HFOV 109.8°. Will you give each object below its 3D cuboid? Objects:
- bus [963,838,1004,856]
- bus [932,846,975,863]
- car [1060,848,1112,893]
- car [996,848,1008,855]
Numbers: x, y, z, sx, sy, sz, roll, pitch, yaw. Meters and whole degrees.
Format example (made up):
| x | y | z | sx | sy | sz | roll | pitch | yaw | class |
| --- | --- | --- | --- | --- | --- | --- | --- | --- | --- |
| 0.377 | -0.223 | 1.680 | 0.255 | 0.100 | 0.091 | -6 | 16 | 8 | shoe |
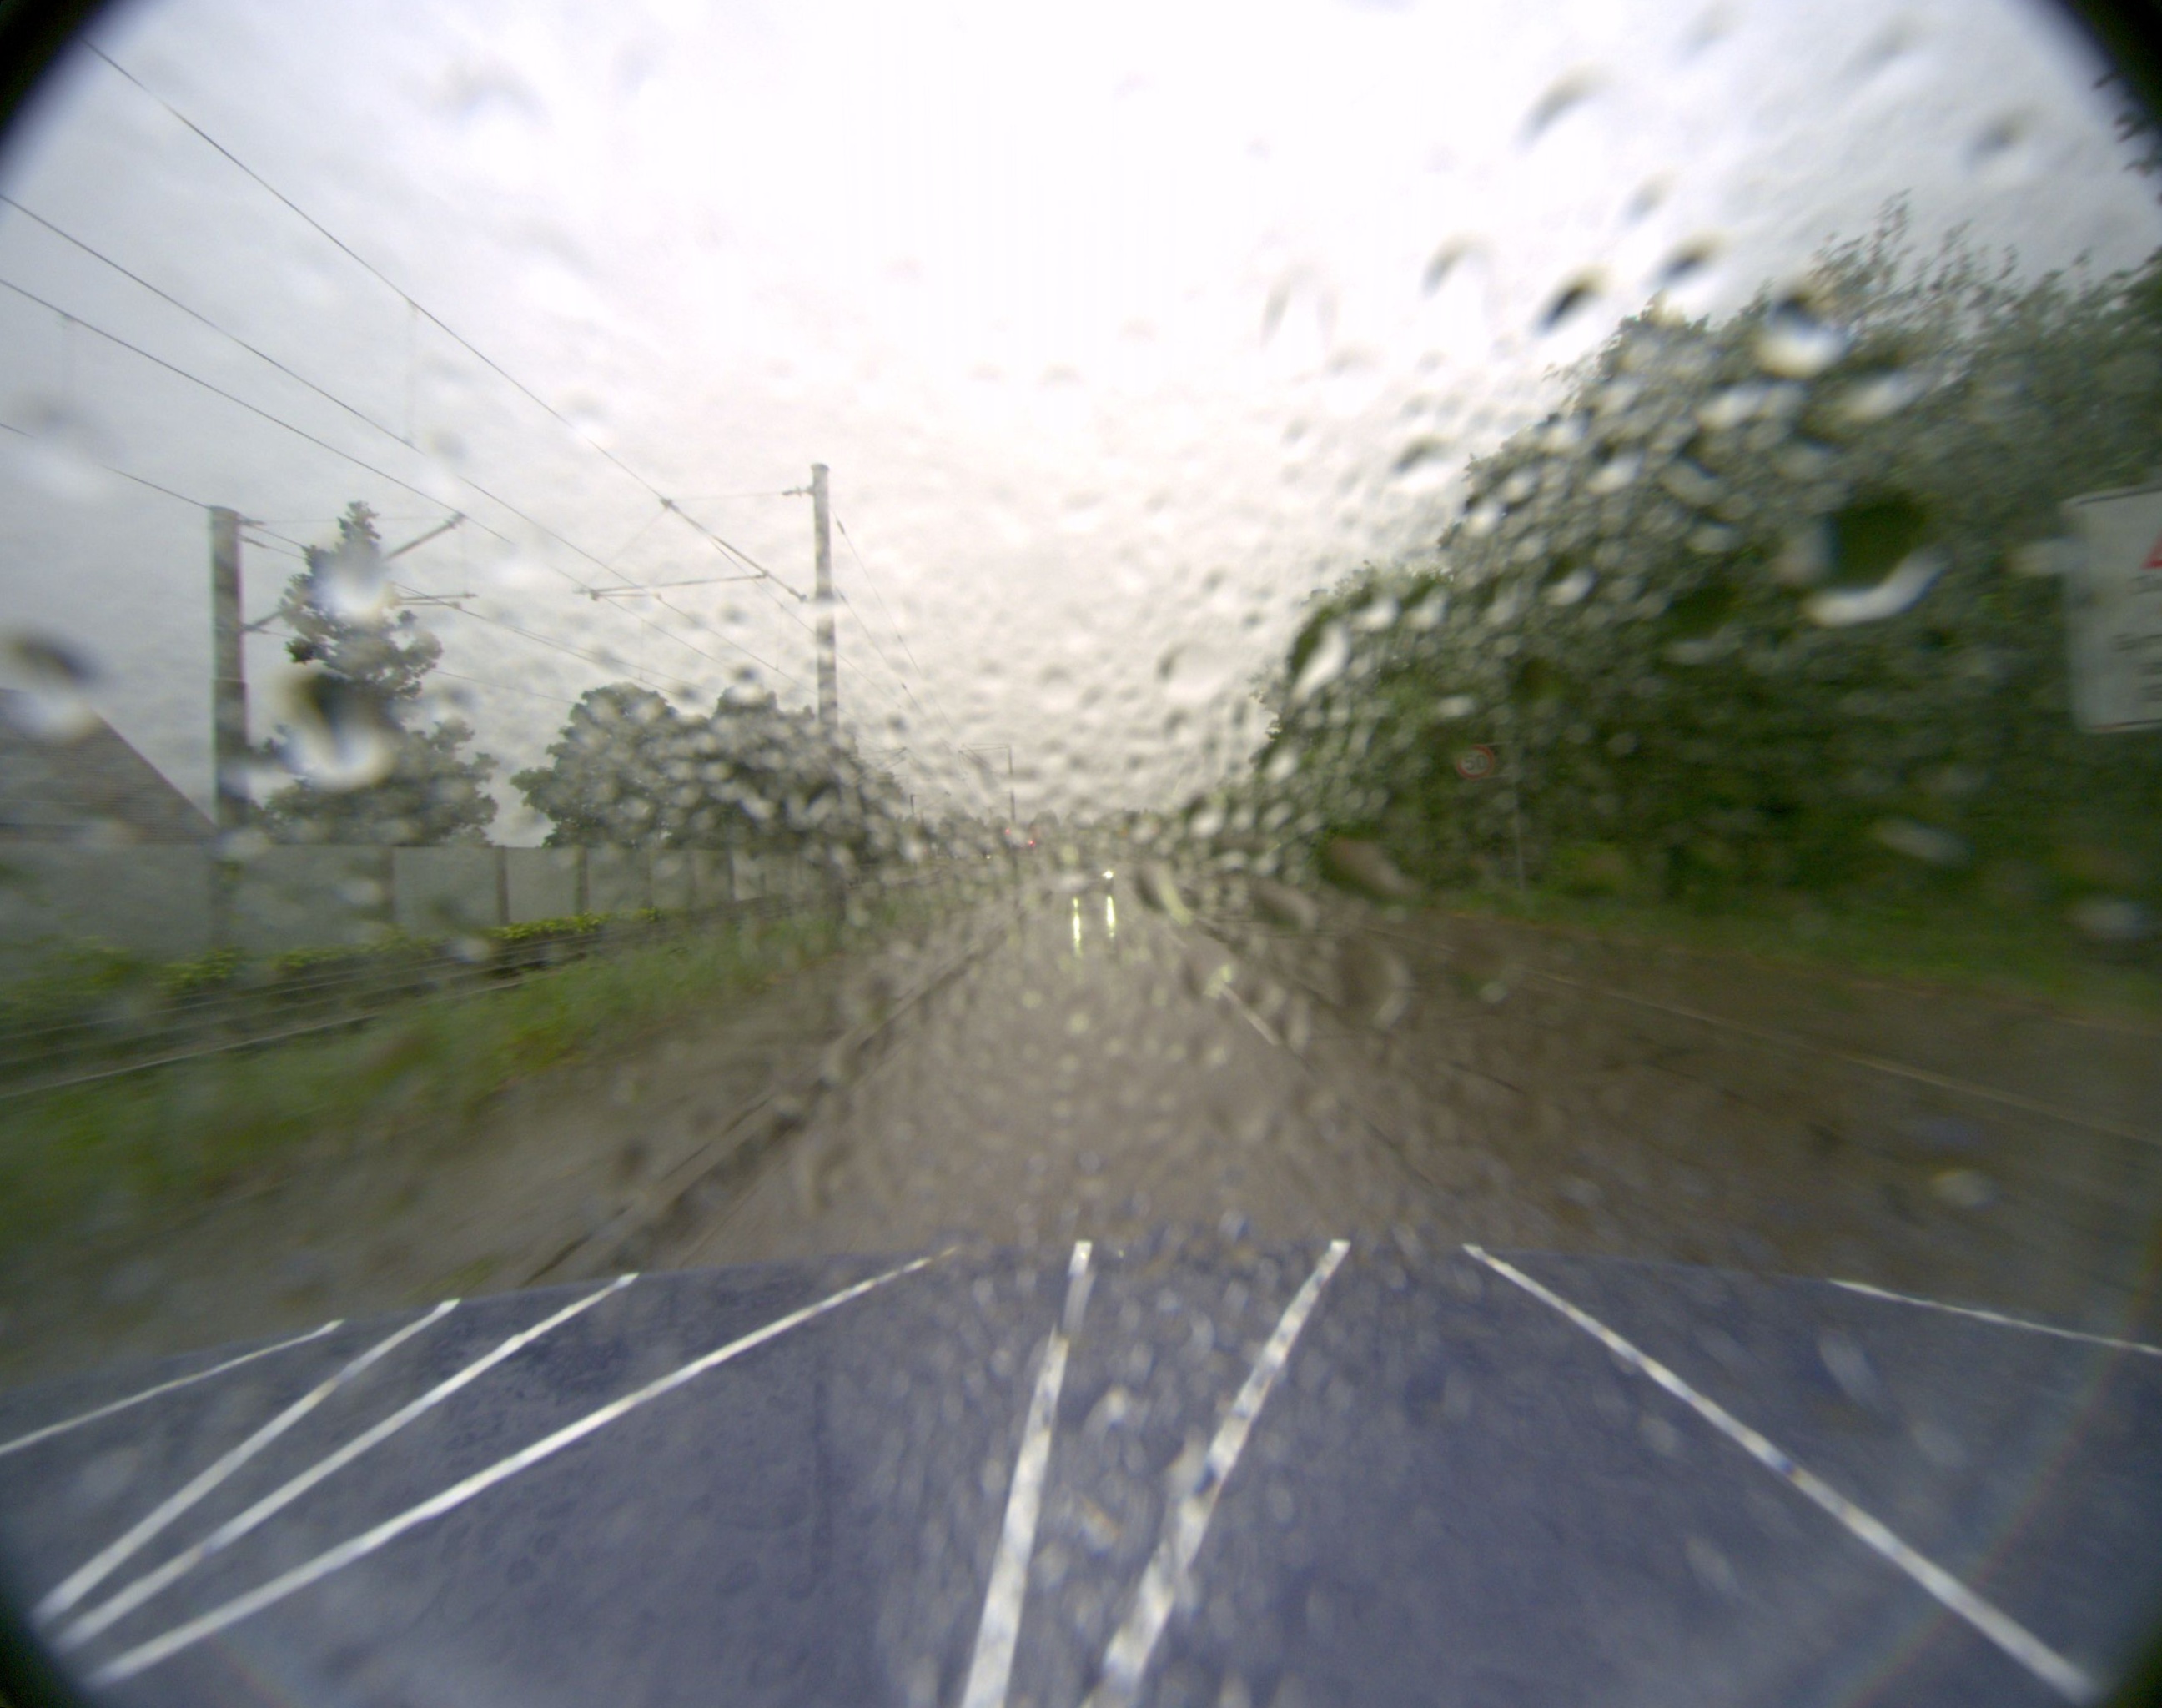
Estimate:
| x | y | z | sx | sy | sz | roll | pitch | yaw | class |
| --- | --- | --- | --- | --- | --- | --- | --- | --- | --- |
| -18.511 | -1.235 | 143.611 | 2.683 | 3.060 | 9.968 | -5 | 2 | -39 | bus |
| -25.335 | 0.164 | 150.892 | 9.967 | 3.060 | 2.683 | -2 | 2 | 42 | bus |
| 0.235 | 0.660 | 32.621 | 1.998 | 1.623 | 3.999 | -3 | 1 | 1 | car |
| -16.221 | -0.524 | 155.470 | 1.769 | 1.528 | 3.871 | -2 | 1 | -16 | car |
